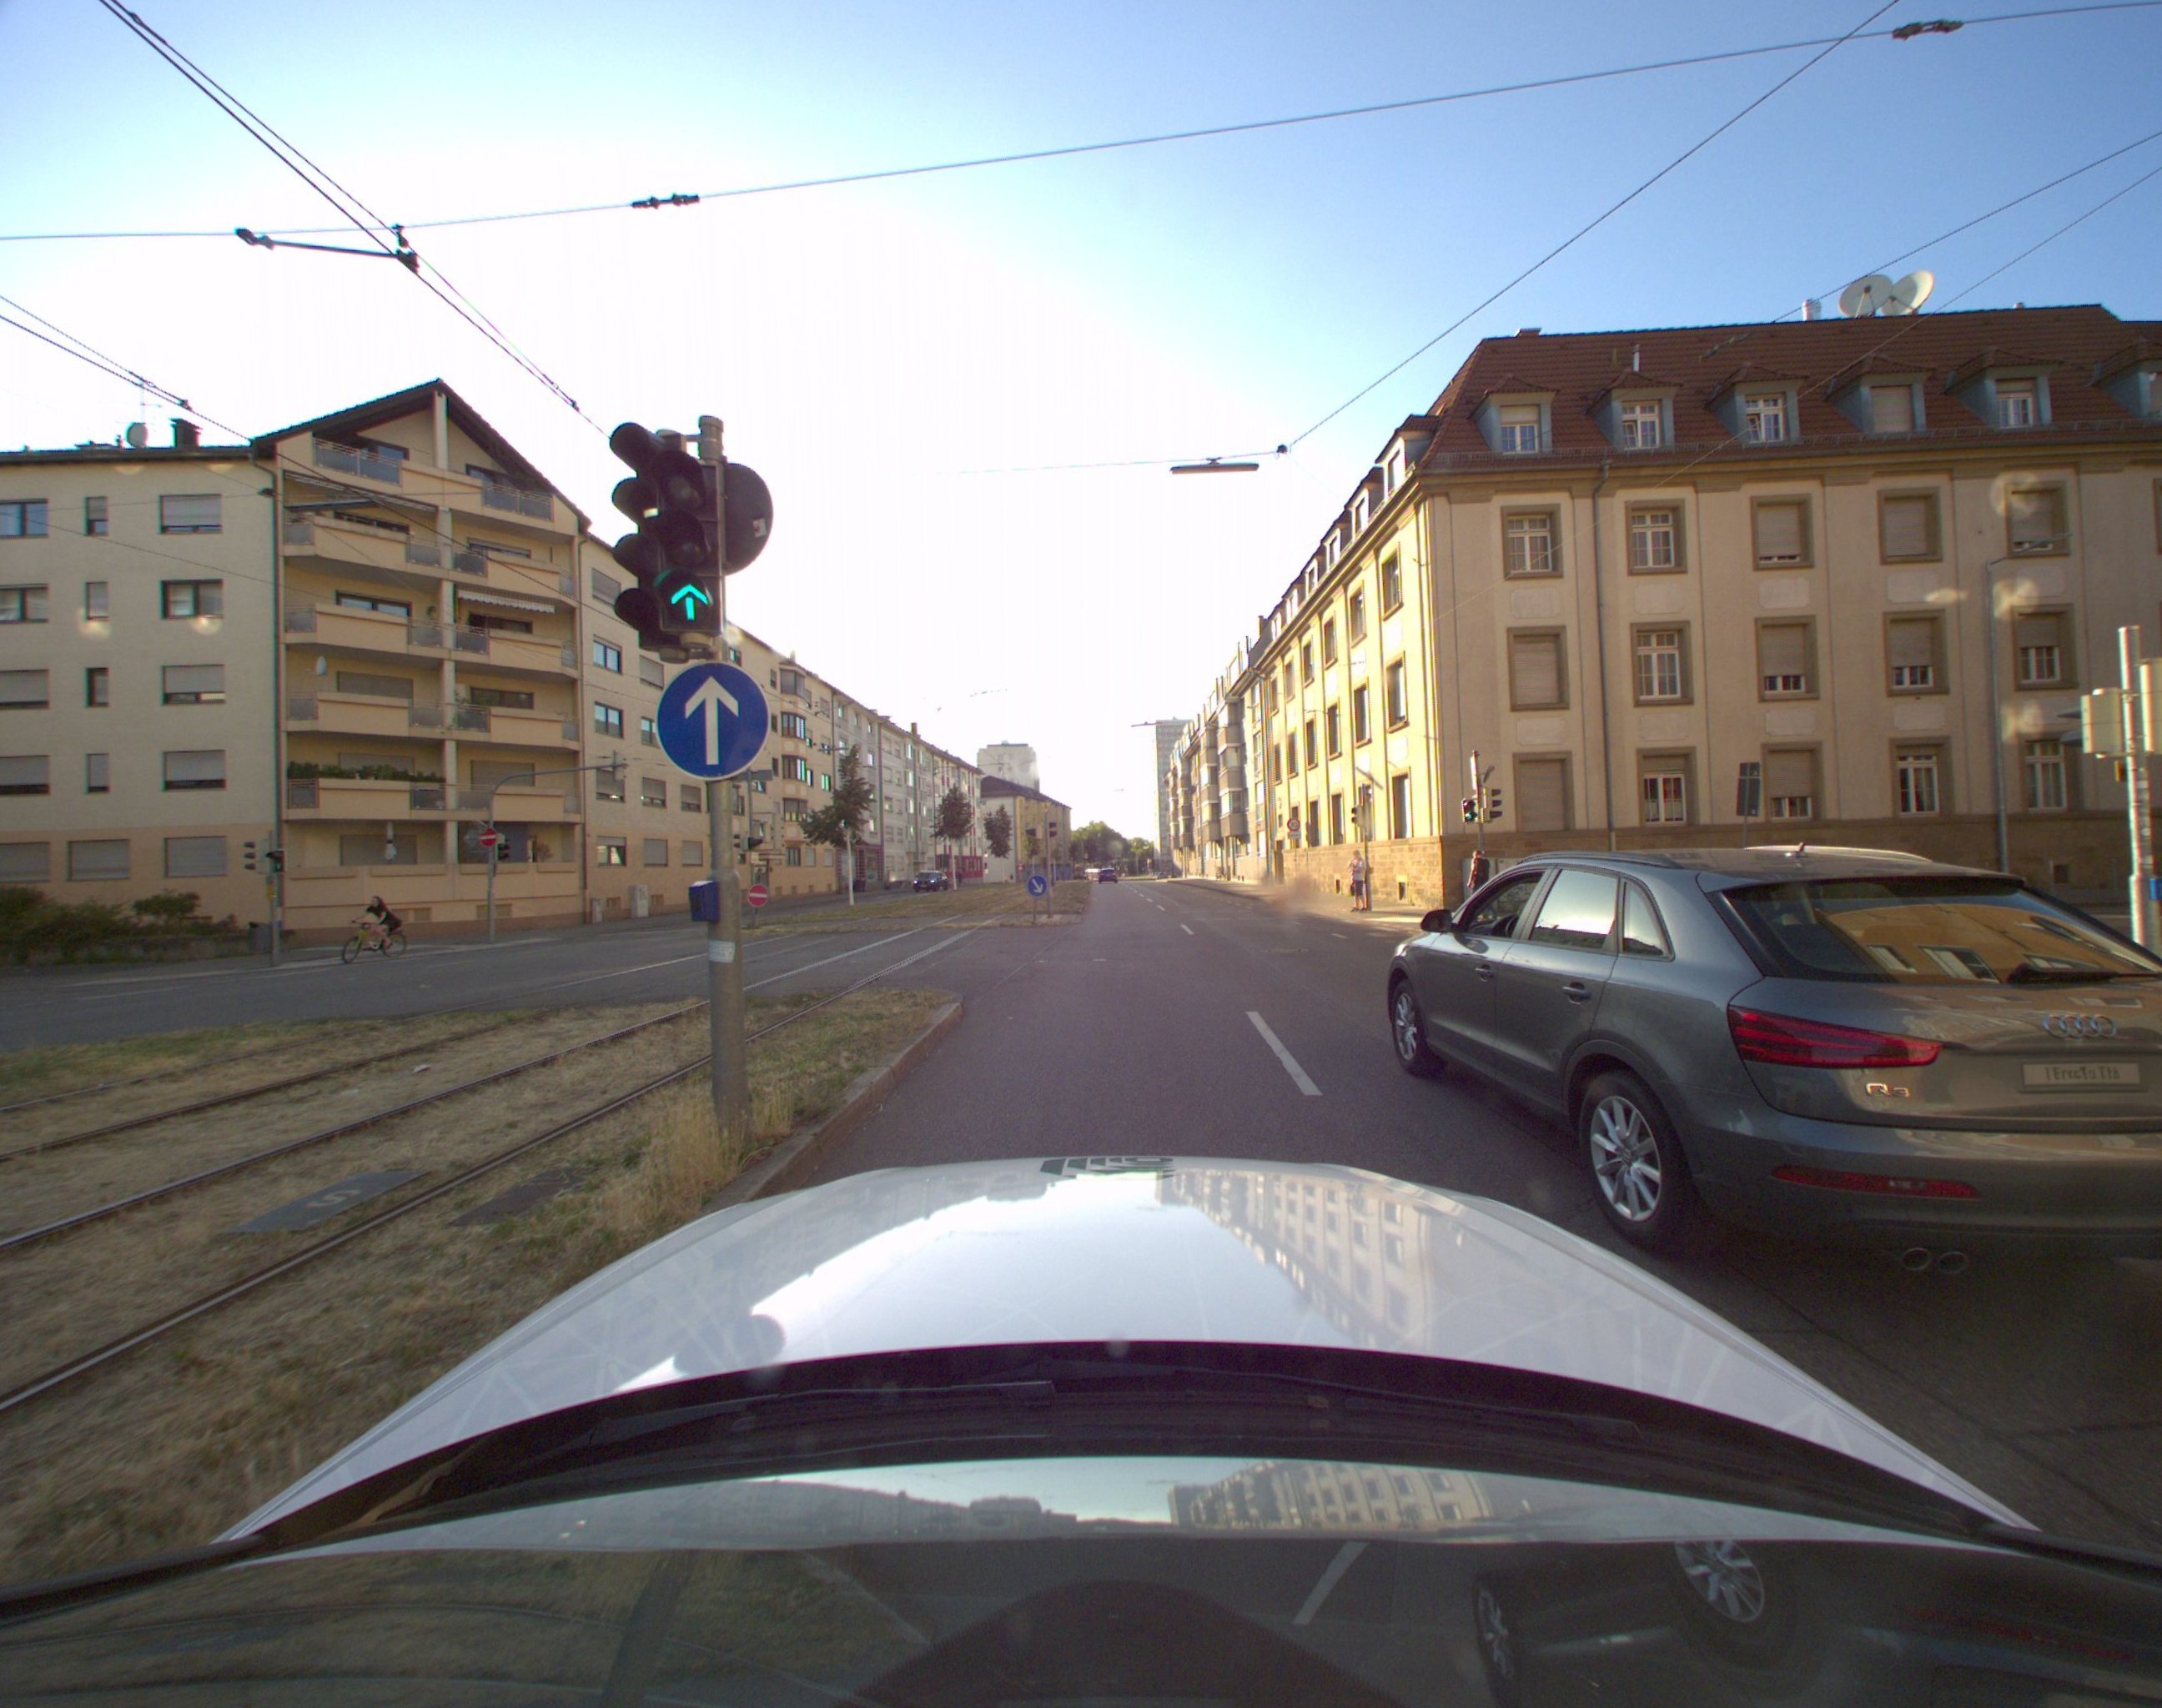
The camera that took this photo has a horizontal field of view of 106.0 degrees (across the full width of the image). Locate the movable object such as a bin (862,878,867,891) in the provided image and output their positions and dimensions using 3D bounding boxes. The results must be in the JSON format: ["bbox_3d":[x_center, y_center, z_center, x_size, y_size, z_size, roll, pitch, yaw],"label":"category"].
[{"bbox_3d":[-17.647,2.516,66.466,0.297,1.036,0.441,-1,-2,0],"label":"movable object such as a bin"}]

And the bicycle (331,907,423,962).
[{"bbox_3d":[-18.476,2.099,21.426,0.452,1.257,1.878,-2,0,15],"label":"bicycle"}]

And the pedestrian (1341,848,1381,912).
[{"bbox_3d":[7.924,0.732,23.092,0.832,1.762,0.824,-1,-2,1],"label":"pedestrian"}]

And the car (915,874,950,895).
[{"bbox_3d":[-12.654,2.551,69.554,1.890,1.633,4.749,-2,-1,2],"label":"car"}]

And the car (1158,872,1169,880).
[{"bbox_3d":[15.308,4.084,151.842,1.984,1.564,4.005,-1,-2,5],"label":"car"}]

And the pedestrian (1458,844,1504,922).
[{"bbox_3d":[9.280,0.661,18.917,0.627,1.758,0.825,-1,-2,1],"label":"pedestrian"}]

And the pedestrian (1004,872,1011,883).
[{"bbox_3d":[-11.575,3.623,127.821,0.957,1.694,1.013,-1,-2,6],"label":"pedestrian"}]

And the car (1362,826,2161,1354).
[{"bbox_3d":[3.052,0.732,4.530,1.690,1.553,4.228,-1,-1,3],"label":"car"}]

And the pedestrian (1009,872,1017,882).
[{"bbox_3d":[-10.692,3.637,128.333,0.957,1.670,1.013,-1,-2,6],"label":"pedestrian"}]

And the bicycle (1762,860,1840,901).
[{"bbox_3d":[18.244,0.684,20.663,1.491,1.018,0.251,-1,-2,17],"label":"bicycle"}]

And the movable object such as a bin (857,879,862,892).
[{"bbox_3d":[-17.829,2.503,65.505,0.297,1.036,0.441,-1,-2,0],"label":"movable object such as a bin"}]

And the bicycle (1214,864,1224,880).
[{"bbox_3d":[9.936,1.303,58.763,0.382,1.096,1.503,-3,-2,-1],"label":"bicycle"}]

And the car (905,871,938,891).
[{"bbox_3d":[-15.451,2.618,79.201,1.984,1.925,4.548,-1,-2,5],"label":"car"}]

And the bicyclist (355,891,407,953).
[{"bbox_3d":[-18.490,1.784,21.524,0.622,1.586,0.811,-2,-1,12],"label":"bicyclist"}]

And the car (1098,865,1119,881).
[{"bbox_3d":[2.623,1.835,77.902,1.919,1.456,4.329,-1,-2,2],"label":"car"}]

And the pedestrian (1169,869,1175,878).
[{"bbox_3d":[12.820,2.786,114.644,0.688,1.234,0.737,-1,-2,3],"label":"pedestrian"}]

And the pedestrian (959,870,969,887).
[{"bbox_3d":[-14.554,3.015,101.048,0.999,2.036,0.888,-1,-2,9],"label":"pedestrian"}]
